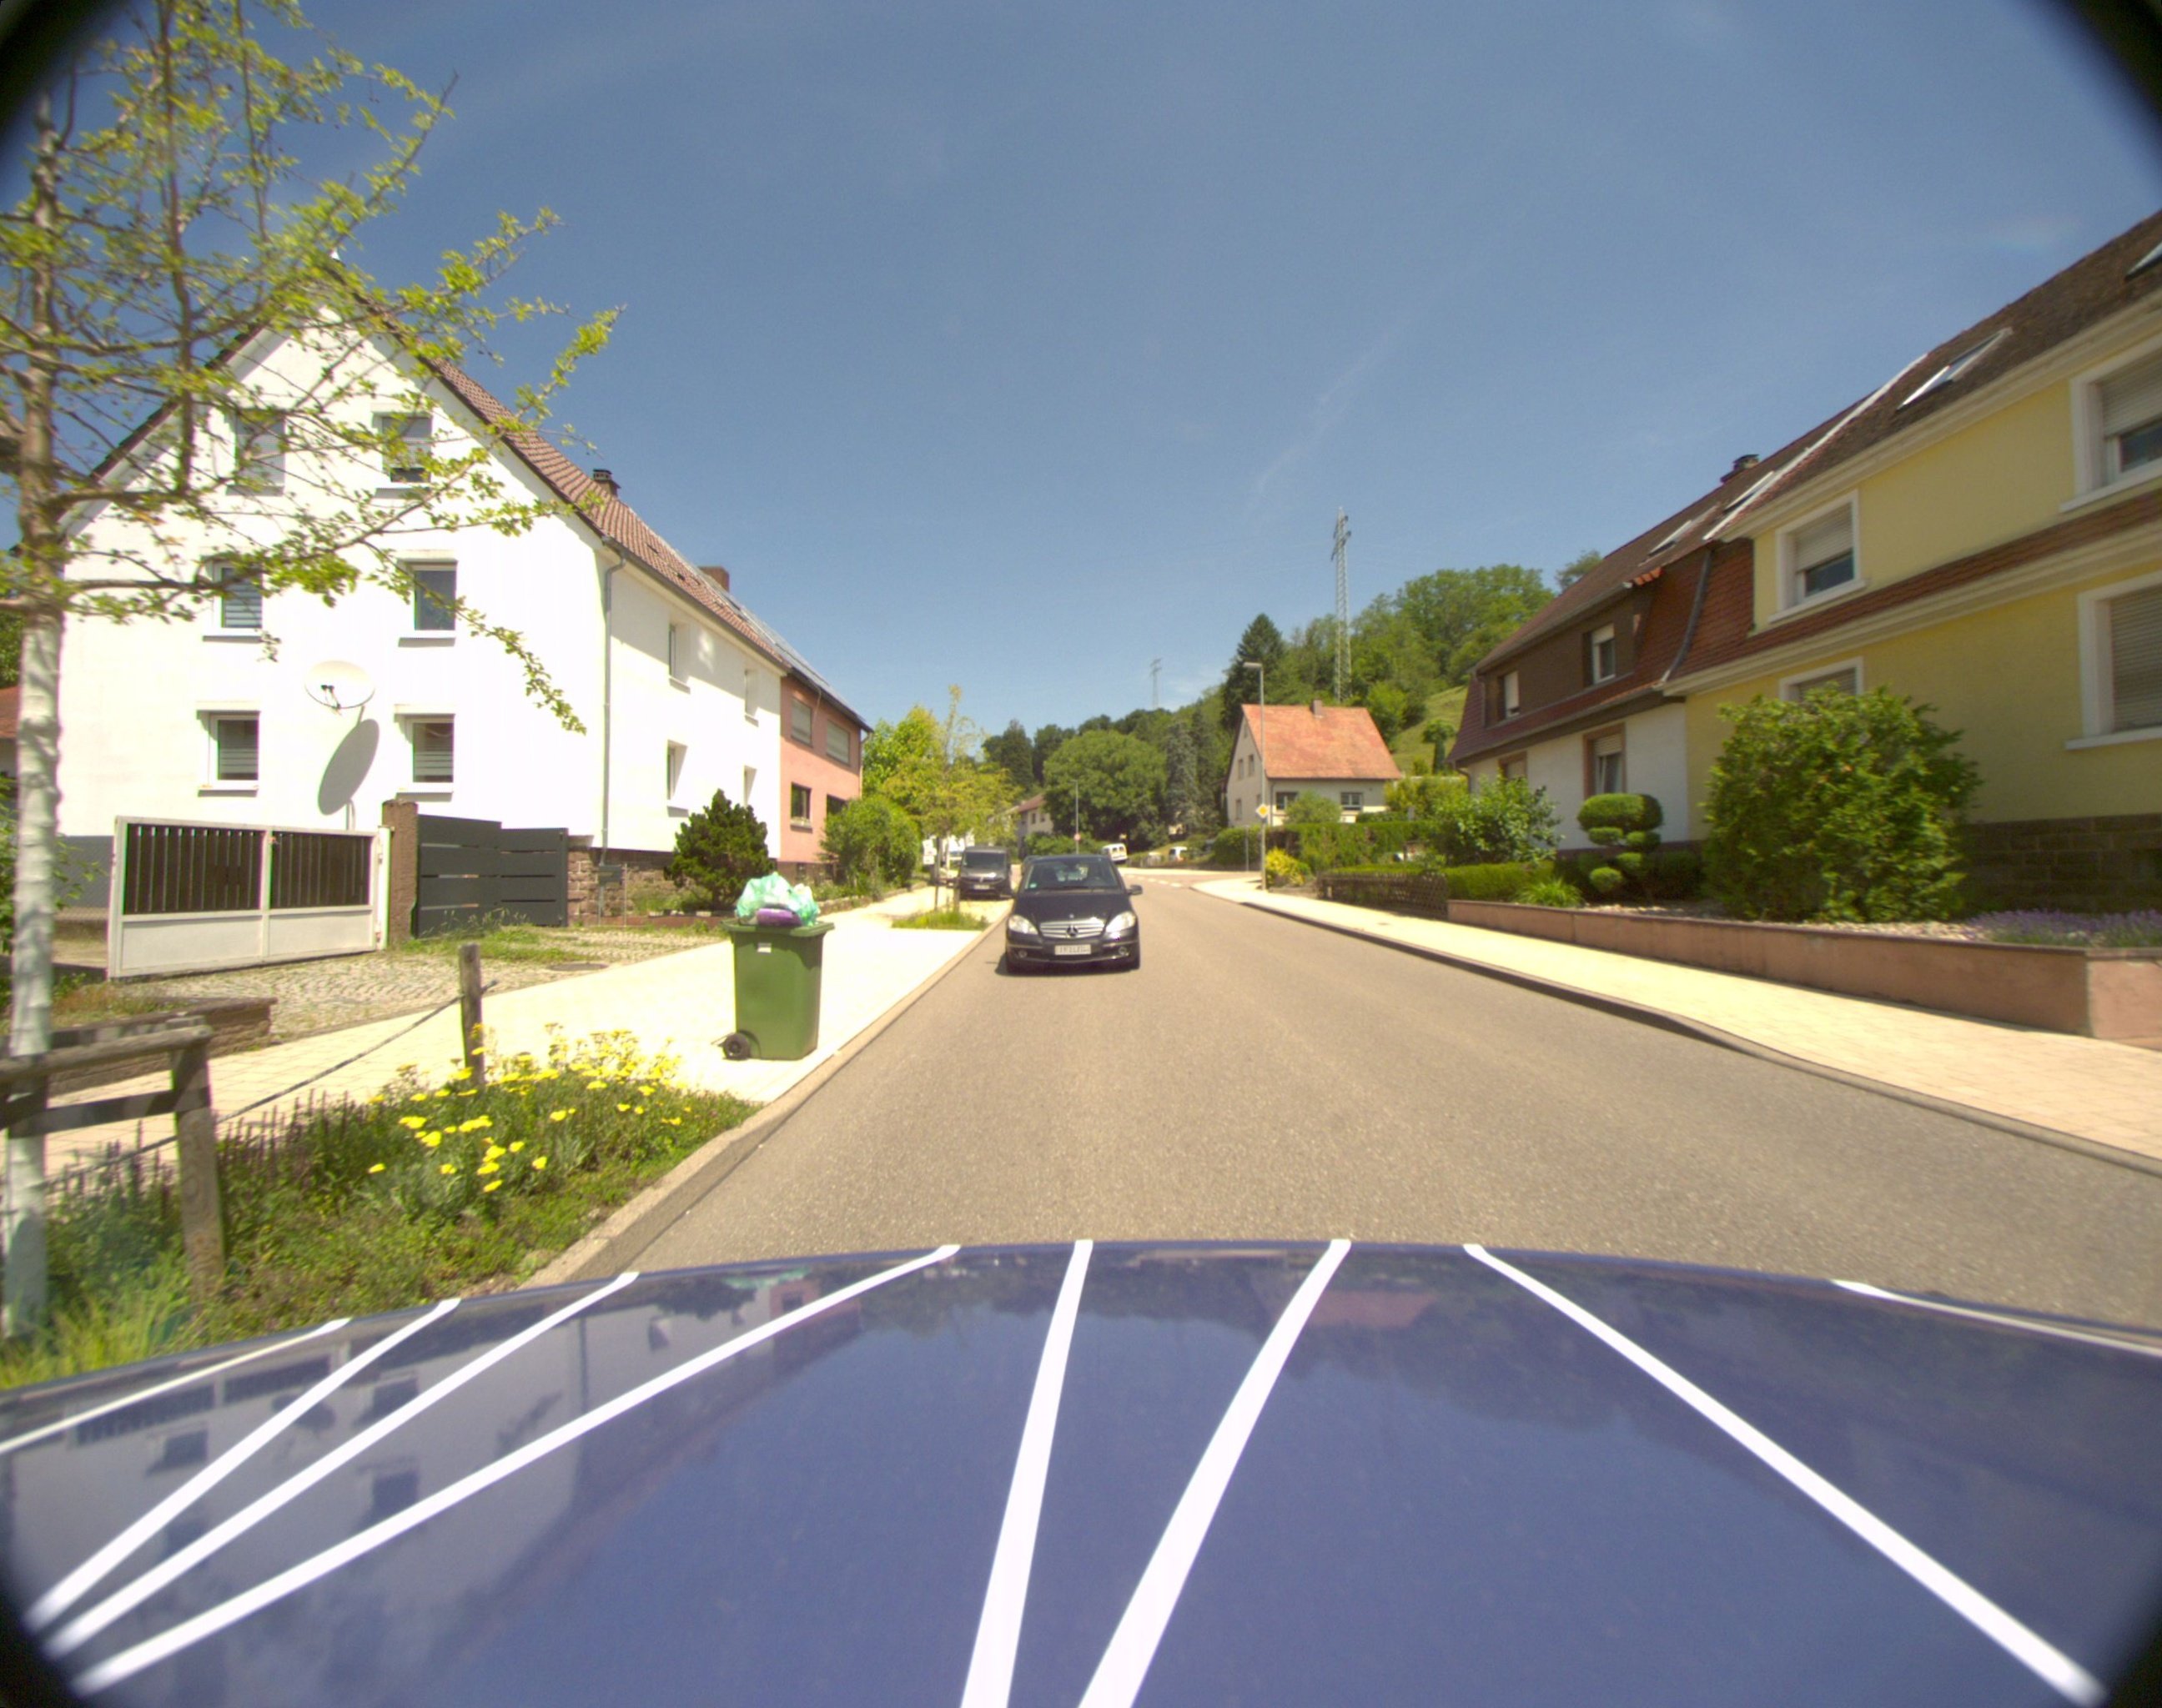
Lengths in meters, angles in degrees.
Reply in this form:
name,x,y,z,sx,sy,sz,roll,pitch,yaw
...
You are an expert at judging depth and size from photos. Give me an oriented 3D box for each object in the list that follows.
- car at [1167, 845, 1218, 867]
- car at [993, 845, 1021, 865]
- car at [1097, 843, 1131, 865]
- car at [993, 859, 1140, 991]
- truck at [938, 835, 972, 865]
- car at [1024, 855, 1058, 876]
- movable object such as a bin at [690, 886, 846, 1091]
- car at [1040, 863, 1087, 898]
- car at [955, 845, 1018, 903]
name,x,y,z,sx,sy,sz,roll,pitch,yaw
car,9.616,0.161,65.667,4.004,1.779,1.807,-1,1,-22
car,-6.948,0.066,70.968,1.970,1.823,4.459,1,0,-14
car,2.924,-0.017,68.330,1.706,1.937,3.993,-2,1,-18
car,-0.112,0.895,11.472,1.790,1.595,4.076,-1,0,2
truck,-15.340,-0.497,92.228,2.810,3.394,8.106,-1,0,-18
car,-2.885,0.771,53.493,1.912,1.342,3.996,-1,0,-10
movable object such as a bin,-2.371,0.981,5.875,0.794,1.387,0.925,3,1,-2
car,-0.738,0.973,29.293,1.668,1.253,3.551,0,0,-3
car,-3.238,0.643,26.774,1.860,1.832,4.669,1,0,-3
